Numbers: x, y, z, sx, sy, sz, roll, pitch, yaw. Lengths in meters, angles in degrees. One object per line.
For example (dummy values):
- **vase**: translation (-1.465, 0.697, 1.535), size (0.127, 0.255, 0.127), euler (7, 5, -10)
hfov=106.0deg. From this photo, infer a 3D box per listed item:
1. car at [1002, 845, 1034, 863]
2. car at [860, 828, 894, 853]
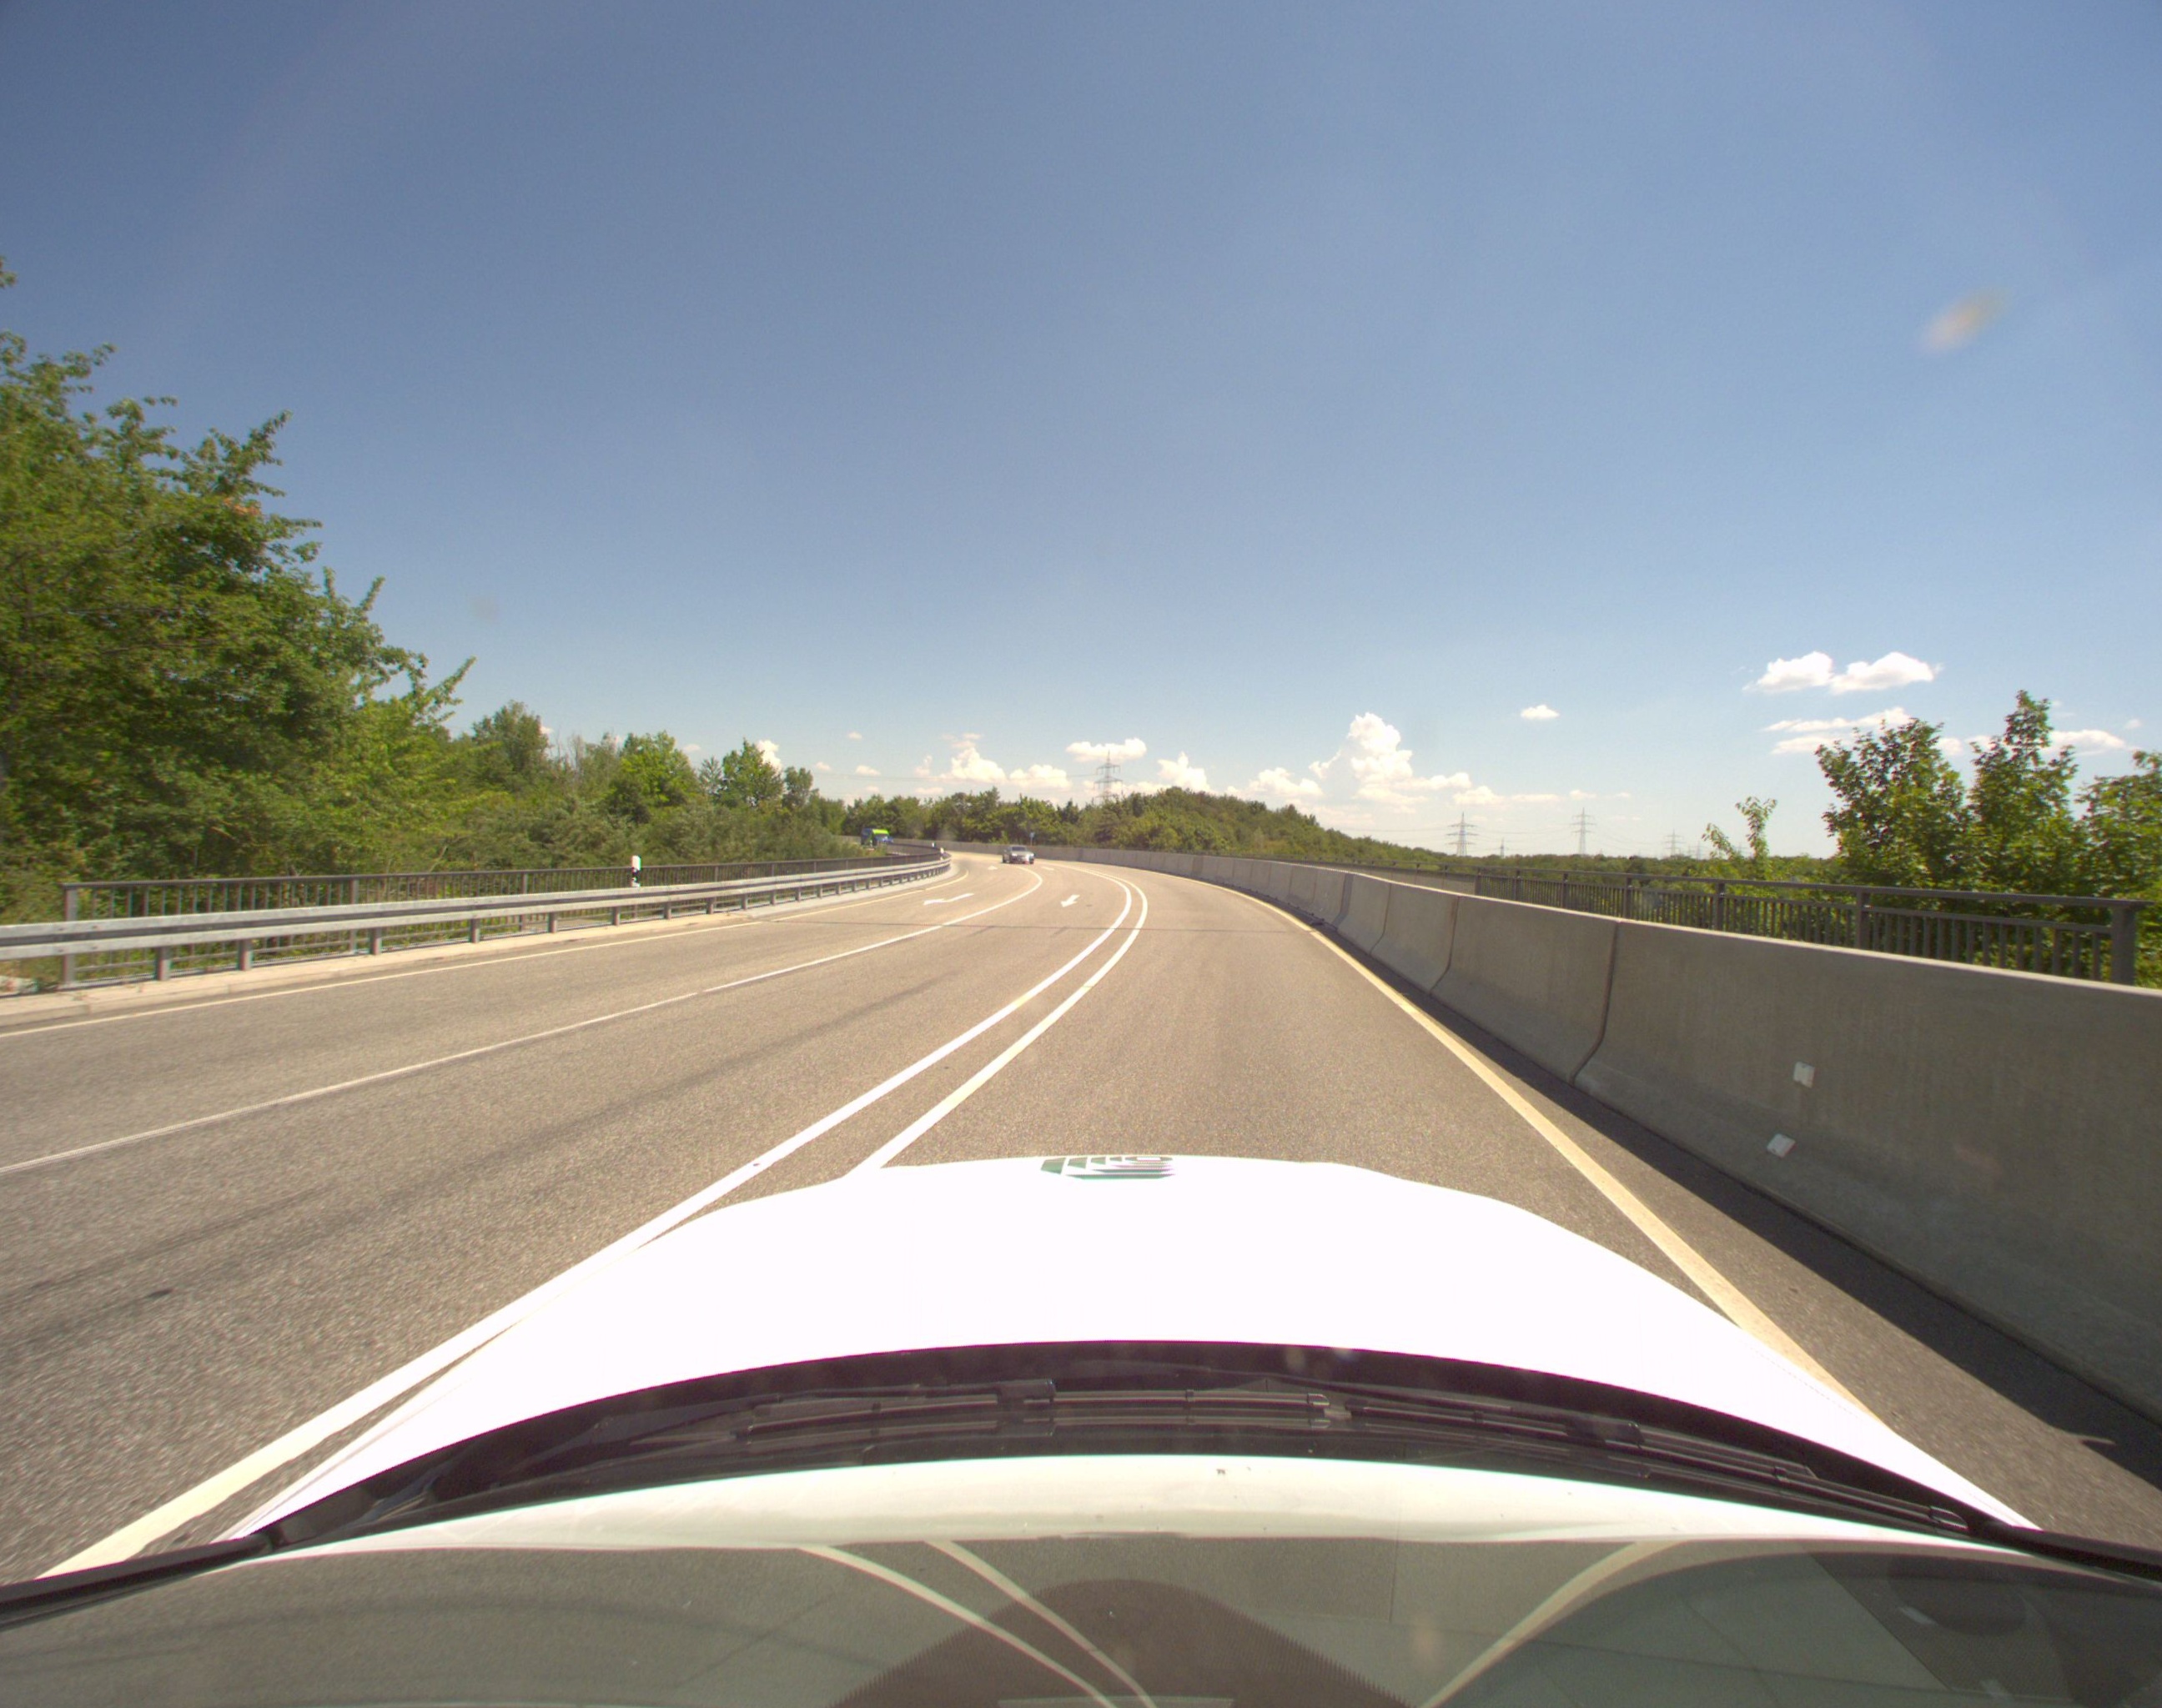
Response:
- **car**: translation (-4.936, -0.019, 62.987), size (1.781, 1.384, 4.262), euler (1, 1, -14)
- **car**: translation (-23.679, -1.624, 94.339), size (2.008, 2.483, 5.427), euler (-8, 6, -32)
